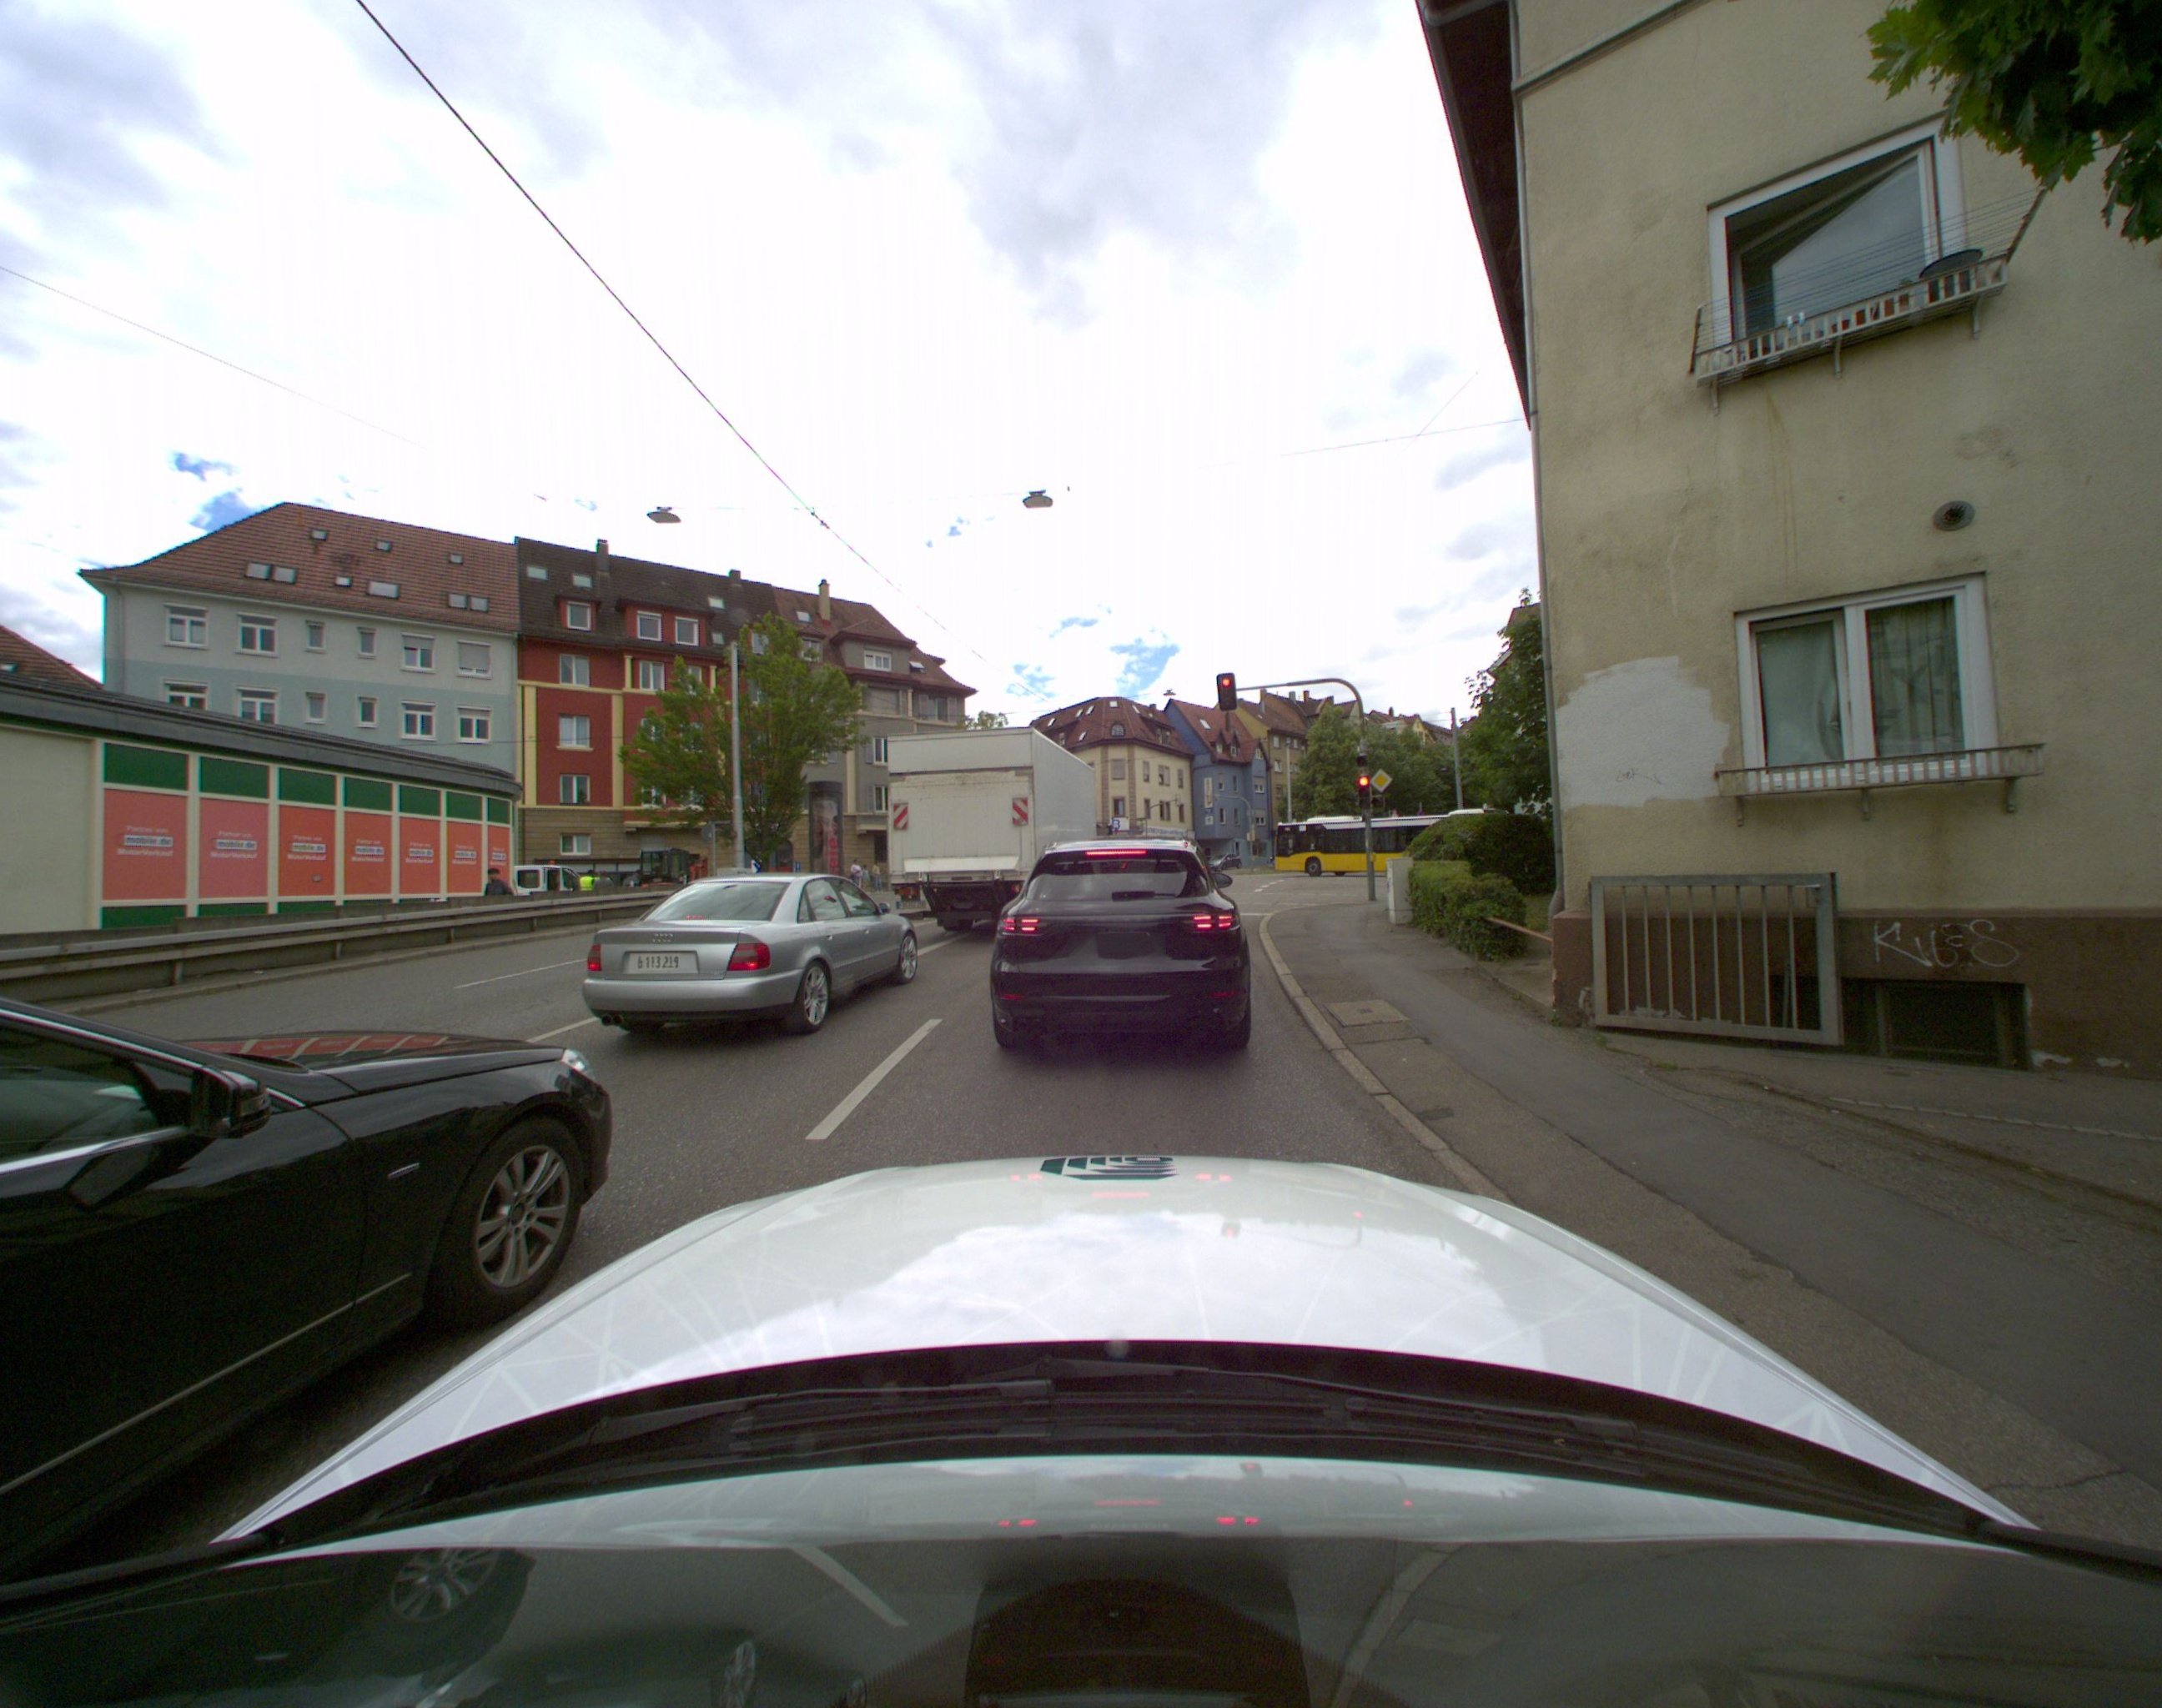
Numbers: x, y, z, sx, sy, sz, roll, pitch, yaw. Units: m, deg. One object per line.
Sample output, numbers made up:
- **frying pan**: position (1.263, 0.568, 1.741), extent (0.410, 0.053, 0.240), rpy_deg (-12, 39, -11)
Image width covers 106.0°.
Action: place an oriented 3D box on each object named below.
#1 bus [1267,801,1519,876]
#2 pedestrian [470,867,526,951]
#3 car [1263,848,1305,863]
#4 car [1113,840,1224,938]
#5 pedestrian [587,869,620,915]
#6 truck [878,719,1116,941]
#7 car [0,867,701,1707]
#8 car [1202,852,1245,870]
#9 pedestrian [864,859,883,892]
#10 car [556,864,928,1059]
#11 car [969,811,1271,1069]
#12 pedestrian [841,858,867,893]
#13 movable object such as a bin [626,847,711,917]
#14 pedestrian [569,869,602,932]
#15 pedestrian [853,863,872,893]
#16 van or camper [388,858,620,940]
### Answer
- **bus**: position (15.135, -0.593, 41.125), extent (3.181, 3.096, 12.018), rpy_deg (-2, -1, -35)
- **pedestrian**: position (-11.839, 1.088, 16.565), extent (0.690, 1.637, 0.774), rpy_deg (-2, 0, -19)
- **car**: position (19.475, 0.142, 78.020), extent (1.852, 1.416, 4.727), rpy_deg (-2, -1, 43)
- **car**: position (1.702, 0.569, 14.861), extent (1.638, 1.556, 3.595), rpy_deg (-1, -1, 12)
- **pedestrian**: position (-14.651, 1.170, 24.988), extent (0.594, 1.363, 0.630), rpy_deg (-2, 0, 35)
- **truck**: position (-1.236, -0.388, 17.523), extent (2.708, 3.544, 8.446), rpy_deg (-2, 0, 10)
- **car**: position (-2.874, 0.814, 1.410), extent (1.986, 1.429, 4.844), rpy_deg (-2, 0, 2)
- **car**: position (12.454, 0.598, 71.005), extent (1.700, 1.477, 4.244), rpy_deg (-2, -3, 42)
- **pedestrian**: position (-9.643, 0.985, 37.885), extent (0.657, 1.487, 0.517), rpy_deg (-2, 0, -40)
- **car**: position (-2.963, 0.842, 8.200), extent (1.620, 1.365, 4.135), rpy_deg (-2, 0, 6)
- **car**: position (0.334, 0.580, 7.739), extent (2.024, 1.723, 4.502), rpy_deg (0, 0, 2)
- **pedestrian**: position (-10.219, 0.953, 36.651), extent (0.785, 1.546, 0.743), rpy_deg (-2, 0, 28)
- **movable object such as a bin**: position (-13.148, 0.845, 26.148), extent (1.375, 2.013, 3.524), rpy_deg (-2, 0, -10)
- **pedestrian**: position (-16.359, 1.510, 26.888), extent (0.830, 2.013, 0.673), rpy_deg (-1, 0, -36)
- **pedestrian**: position (-10.056, 1.093, 37.415), extent (0.569, 1.338, 0.587), rpy_deg (-2, 0, 44)
- **van or camper**: position (-18.989, 1.387, 27.258), extent (6.028, 2.338, 2.661), rpy_deg (-1, 0, -33)
